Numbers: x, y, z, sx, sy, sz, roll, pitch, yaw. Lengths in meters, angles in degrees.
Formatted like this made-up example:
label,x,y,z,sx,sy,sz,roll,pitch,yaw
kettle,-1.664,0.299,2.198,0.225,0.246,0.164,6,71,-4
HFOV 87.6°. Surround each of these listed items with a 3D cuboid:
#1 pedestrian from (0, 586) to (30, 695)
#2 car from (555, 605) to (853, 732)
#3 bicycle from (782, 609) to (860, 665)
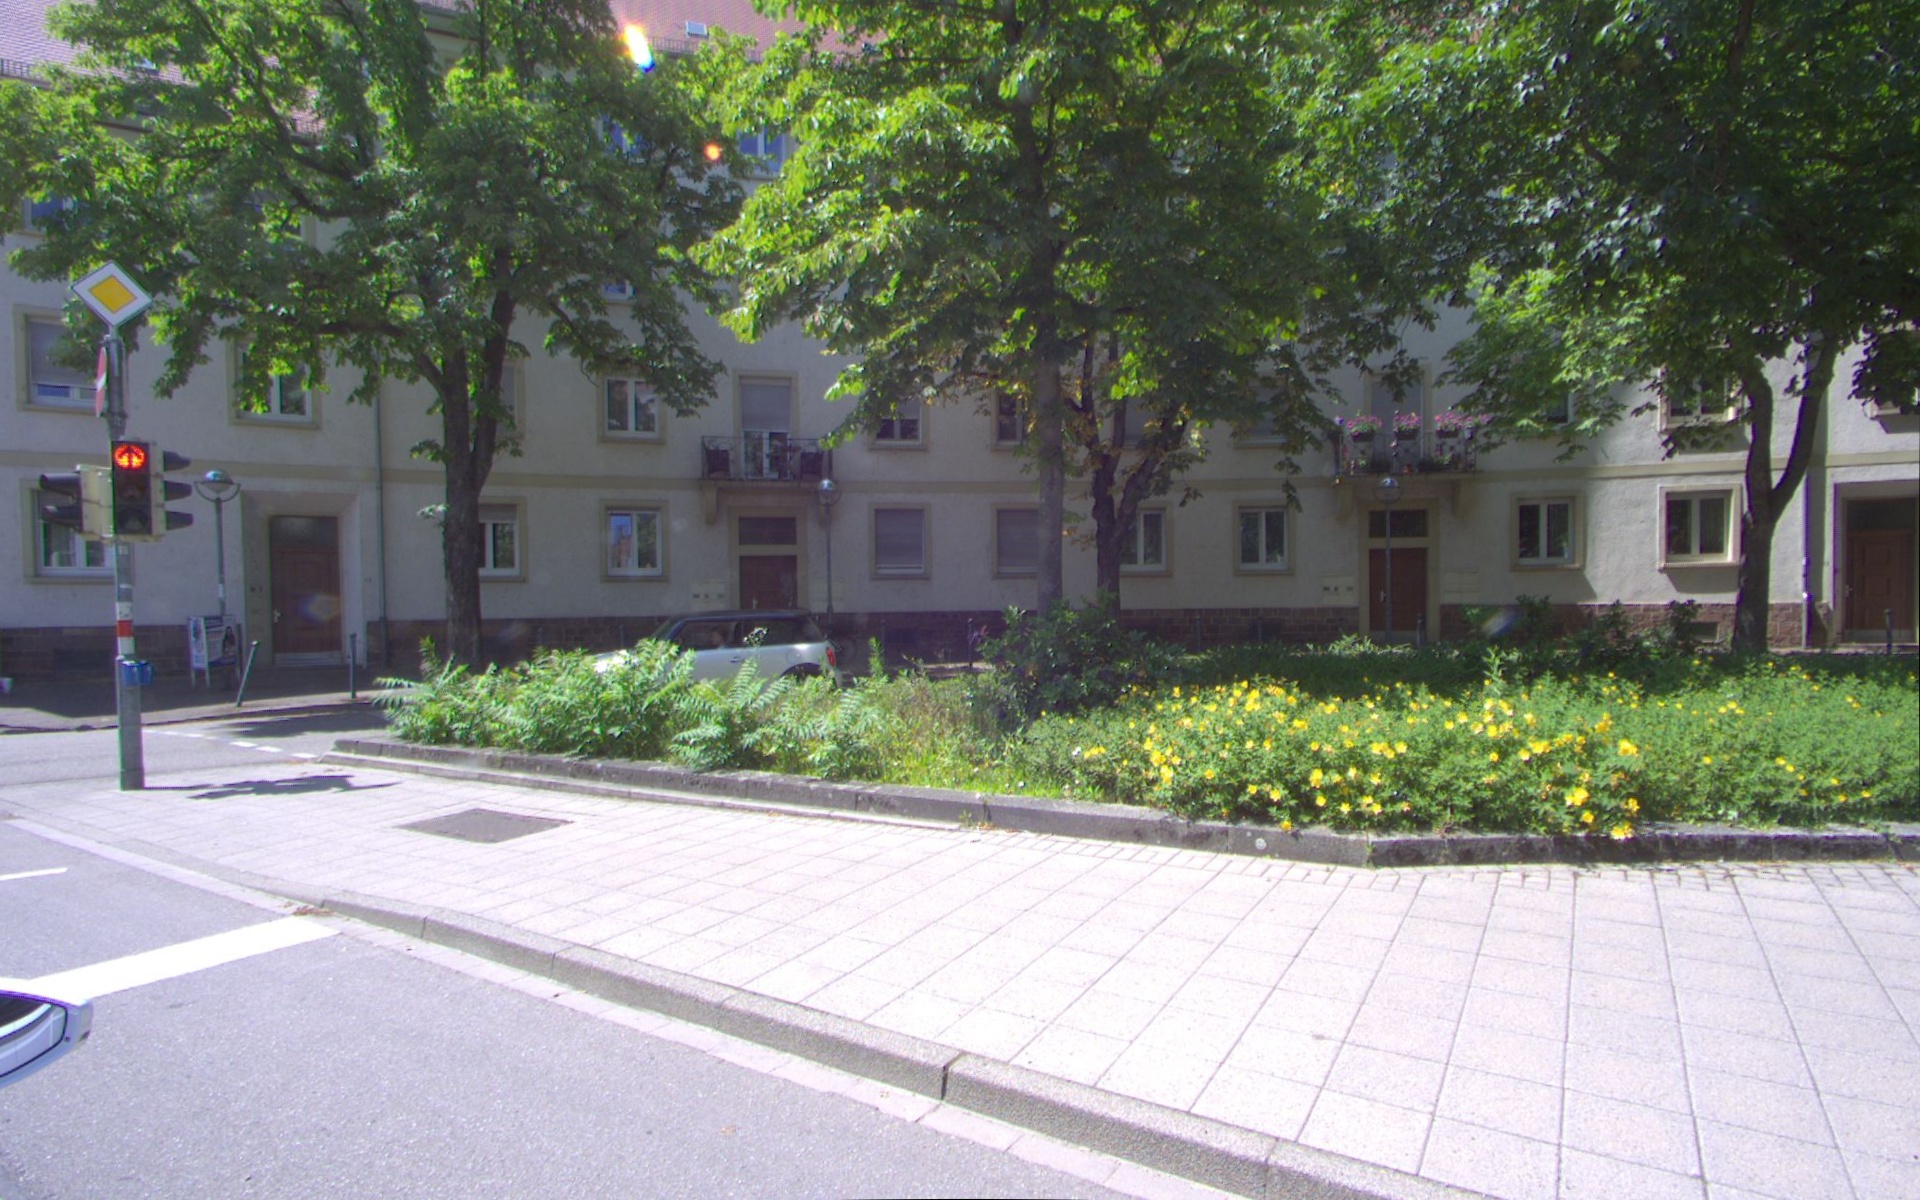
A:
label,x,y,z,sx,sy,sz,roll,pitch,yaw
pedestrian,-15.887,0.681,16.205,1.044,1.715,0.647,-6,8,-39
car,-3.324,0.839,13.300,3.585,1.526,1.703,0,0,-14
bicycle,-2.883,0.758,20.870,1.575,1.119,0.525,-1,1,-4
